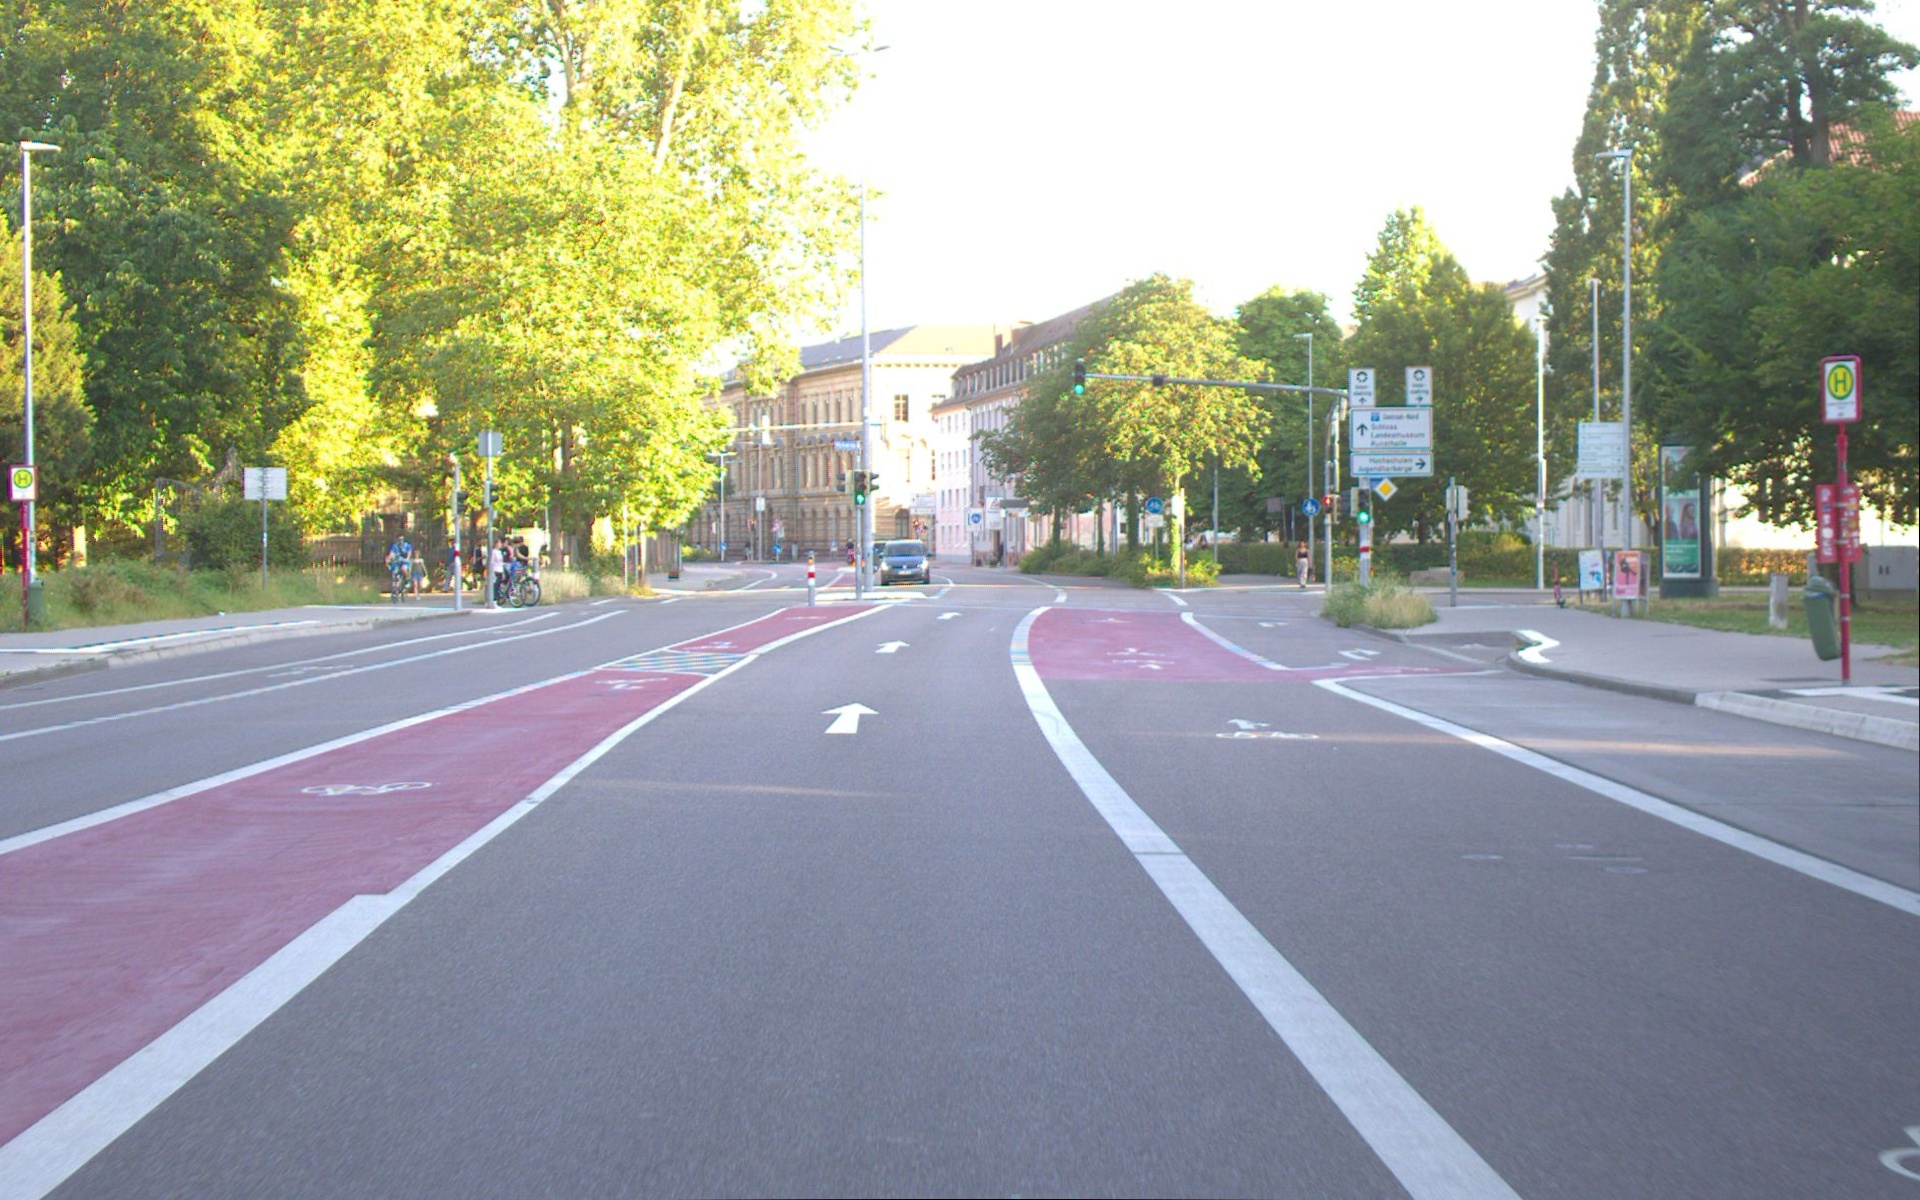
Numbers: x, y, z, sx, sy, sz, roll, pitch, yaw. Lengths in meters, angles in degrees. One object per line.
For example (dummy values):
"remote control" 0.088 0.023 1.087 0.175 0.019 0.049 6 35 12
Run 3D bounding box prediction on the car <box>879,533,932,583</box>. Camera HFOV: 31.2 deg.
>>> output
"car" -1.986 -1.540 126.104 1.849 1.714 4.296 -2 1 0

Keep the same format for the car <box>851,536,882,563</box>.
"car" -5.623 -3.046 207.168 1.819 1.583 4.000 -1 1 -1

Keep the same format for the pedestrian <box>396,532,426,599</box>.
"pedestrian" -16.422 -1.040 102.889 0.649 2.007 0.606 0 1 -36

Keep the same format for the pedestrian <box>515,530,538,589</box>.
"pedestrian" -14.688 -1.379 116.536 0.640 2.007 0.701 0 1 4

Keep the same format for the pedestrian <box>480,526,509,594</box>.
"pedestrian" -11.498 -0.989 84.925 0.607 1.690 0.498 0 1 4

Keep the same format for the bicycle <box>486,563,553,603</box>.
"bicycle" -11.394 -0.435 88.967 1.769 1.026 0.578 0 1 34

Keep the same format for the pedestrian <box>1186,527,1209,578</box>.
"pedestrian" 9.530 -1.902 137.899 0.870 2.007 0.722 1 1 2

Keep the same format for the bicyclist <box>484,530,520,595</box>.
"bicyclist" -11.638 -0.944 87.309 0.638 1.644 0.629 0 1 33

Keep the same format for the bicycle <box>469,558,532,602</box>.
"bicycle" -11.677 -0.521 87.345 1.566 1.107 0.632 0 1 34

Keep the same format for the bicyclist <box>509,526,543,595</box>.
"bicyclist" -11.215 -1.018 88.850 0.638 1.774 0.575 0 1 33

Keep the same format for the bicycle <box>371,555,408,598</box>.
"bicycle" -15.040 -0.633 90.657 0.770 1.097 2.123 0 1 -4

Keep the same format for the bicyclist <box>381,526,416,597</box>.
"bicyclist" -14.784 -1.014 90.542 0.735 1.817 0.712 -2 0 3
